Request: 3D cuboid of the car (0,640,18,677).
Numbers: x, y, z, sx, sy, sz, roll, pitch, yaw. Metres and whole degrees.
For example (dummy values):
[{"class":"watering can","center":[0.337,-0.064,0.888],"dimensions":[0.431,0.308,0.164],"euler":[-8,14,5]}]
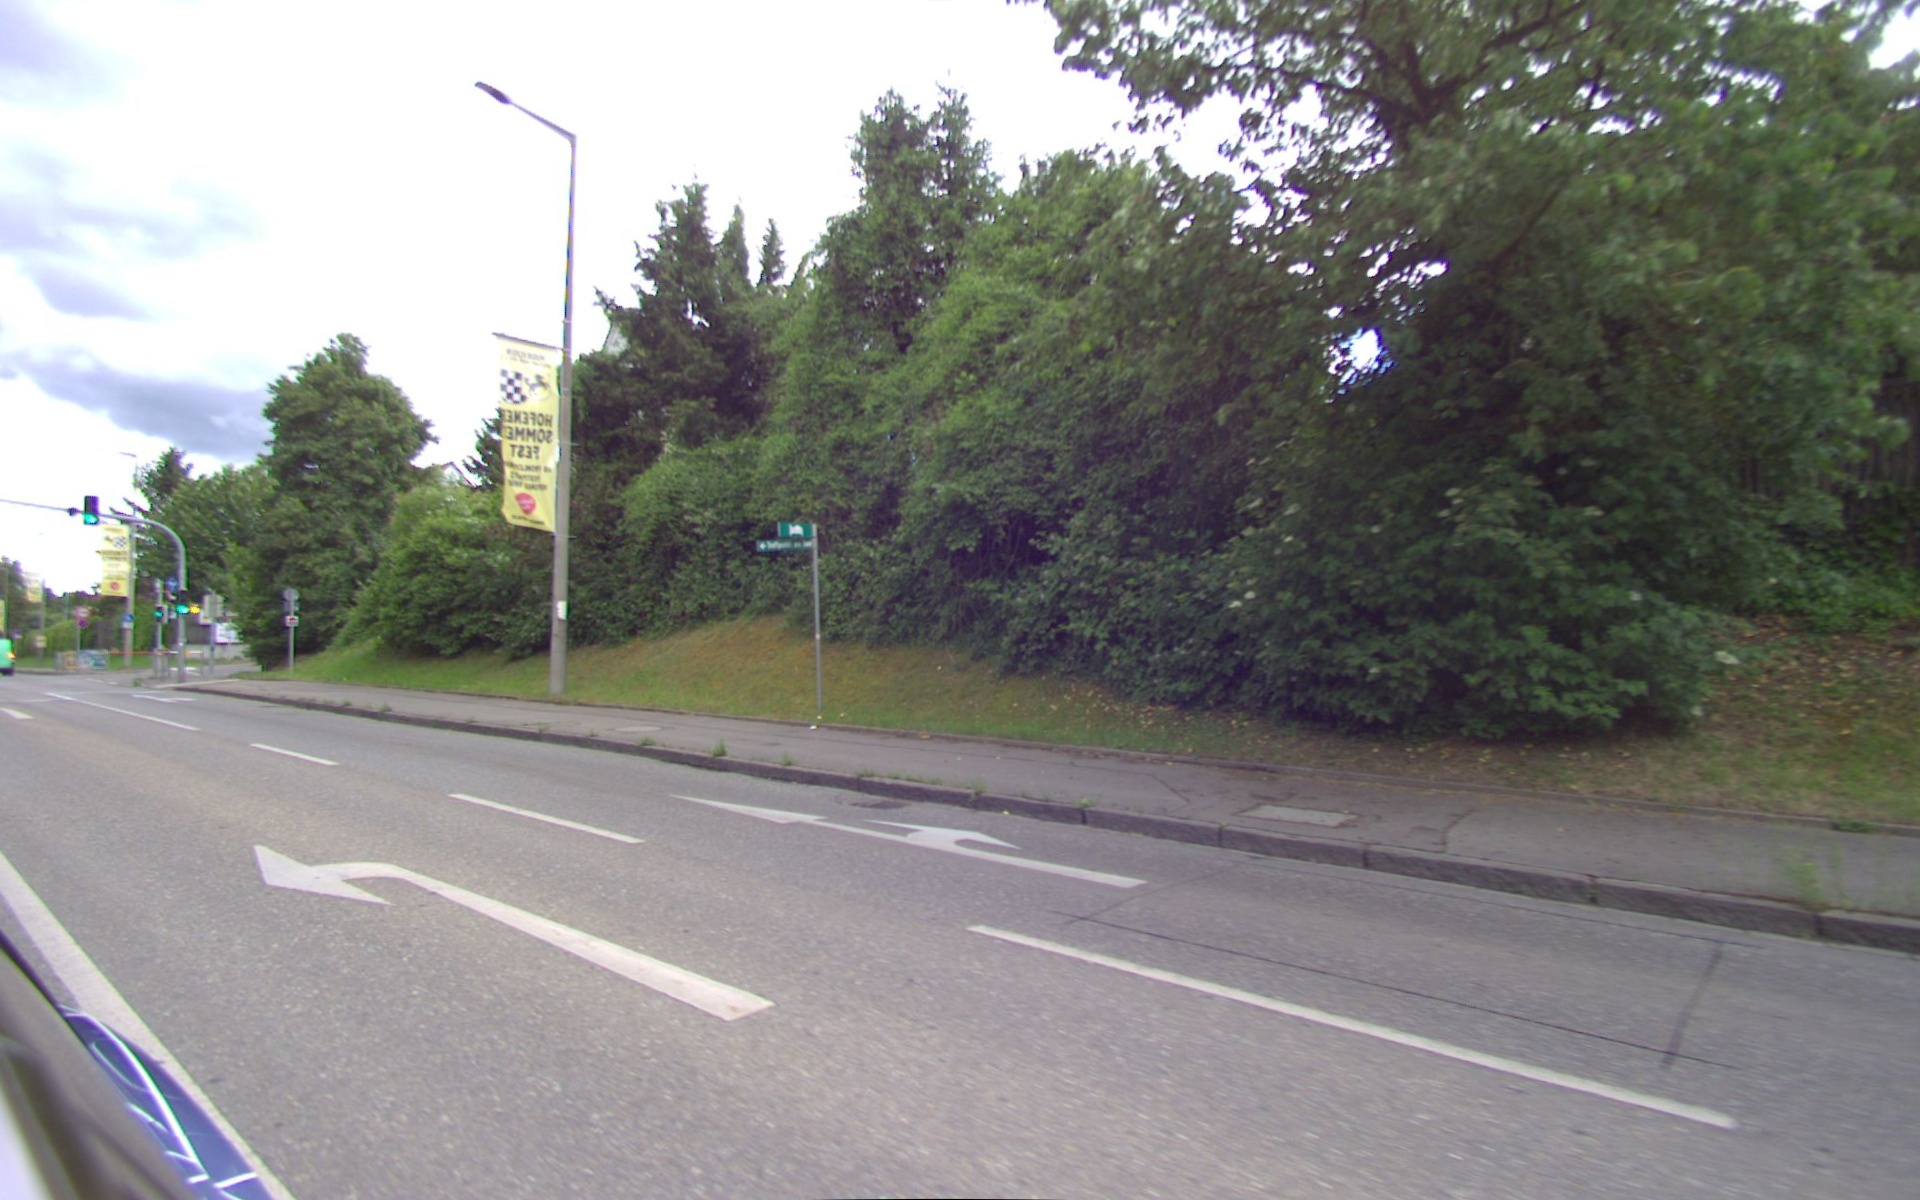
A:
[{"class":"car","center":[-50.171,3.000,52.044],"dimensions":[4.727,1.824,2.037],"euler":[-2,-5,42]}]
